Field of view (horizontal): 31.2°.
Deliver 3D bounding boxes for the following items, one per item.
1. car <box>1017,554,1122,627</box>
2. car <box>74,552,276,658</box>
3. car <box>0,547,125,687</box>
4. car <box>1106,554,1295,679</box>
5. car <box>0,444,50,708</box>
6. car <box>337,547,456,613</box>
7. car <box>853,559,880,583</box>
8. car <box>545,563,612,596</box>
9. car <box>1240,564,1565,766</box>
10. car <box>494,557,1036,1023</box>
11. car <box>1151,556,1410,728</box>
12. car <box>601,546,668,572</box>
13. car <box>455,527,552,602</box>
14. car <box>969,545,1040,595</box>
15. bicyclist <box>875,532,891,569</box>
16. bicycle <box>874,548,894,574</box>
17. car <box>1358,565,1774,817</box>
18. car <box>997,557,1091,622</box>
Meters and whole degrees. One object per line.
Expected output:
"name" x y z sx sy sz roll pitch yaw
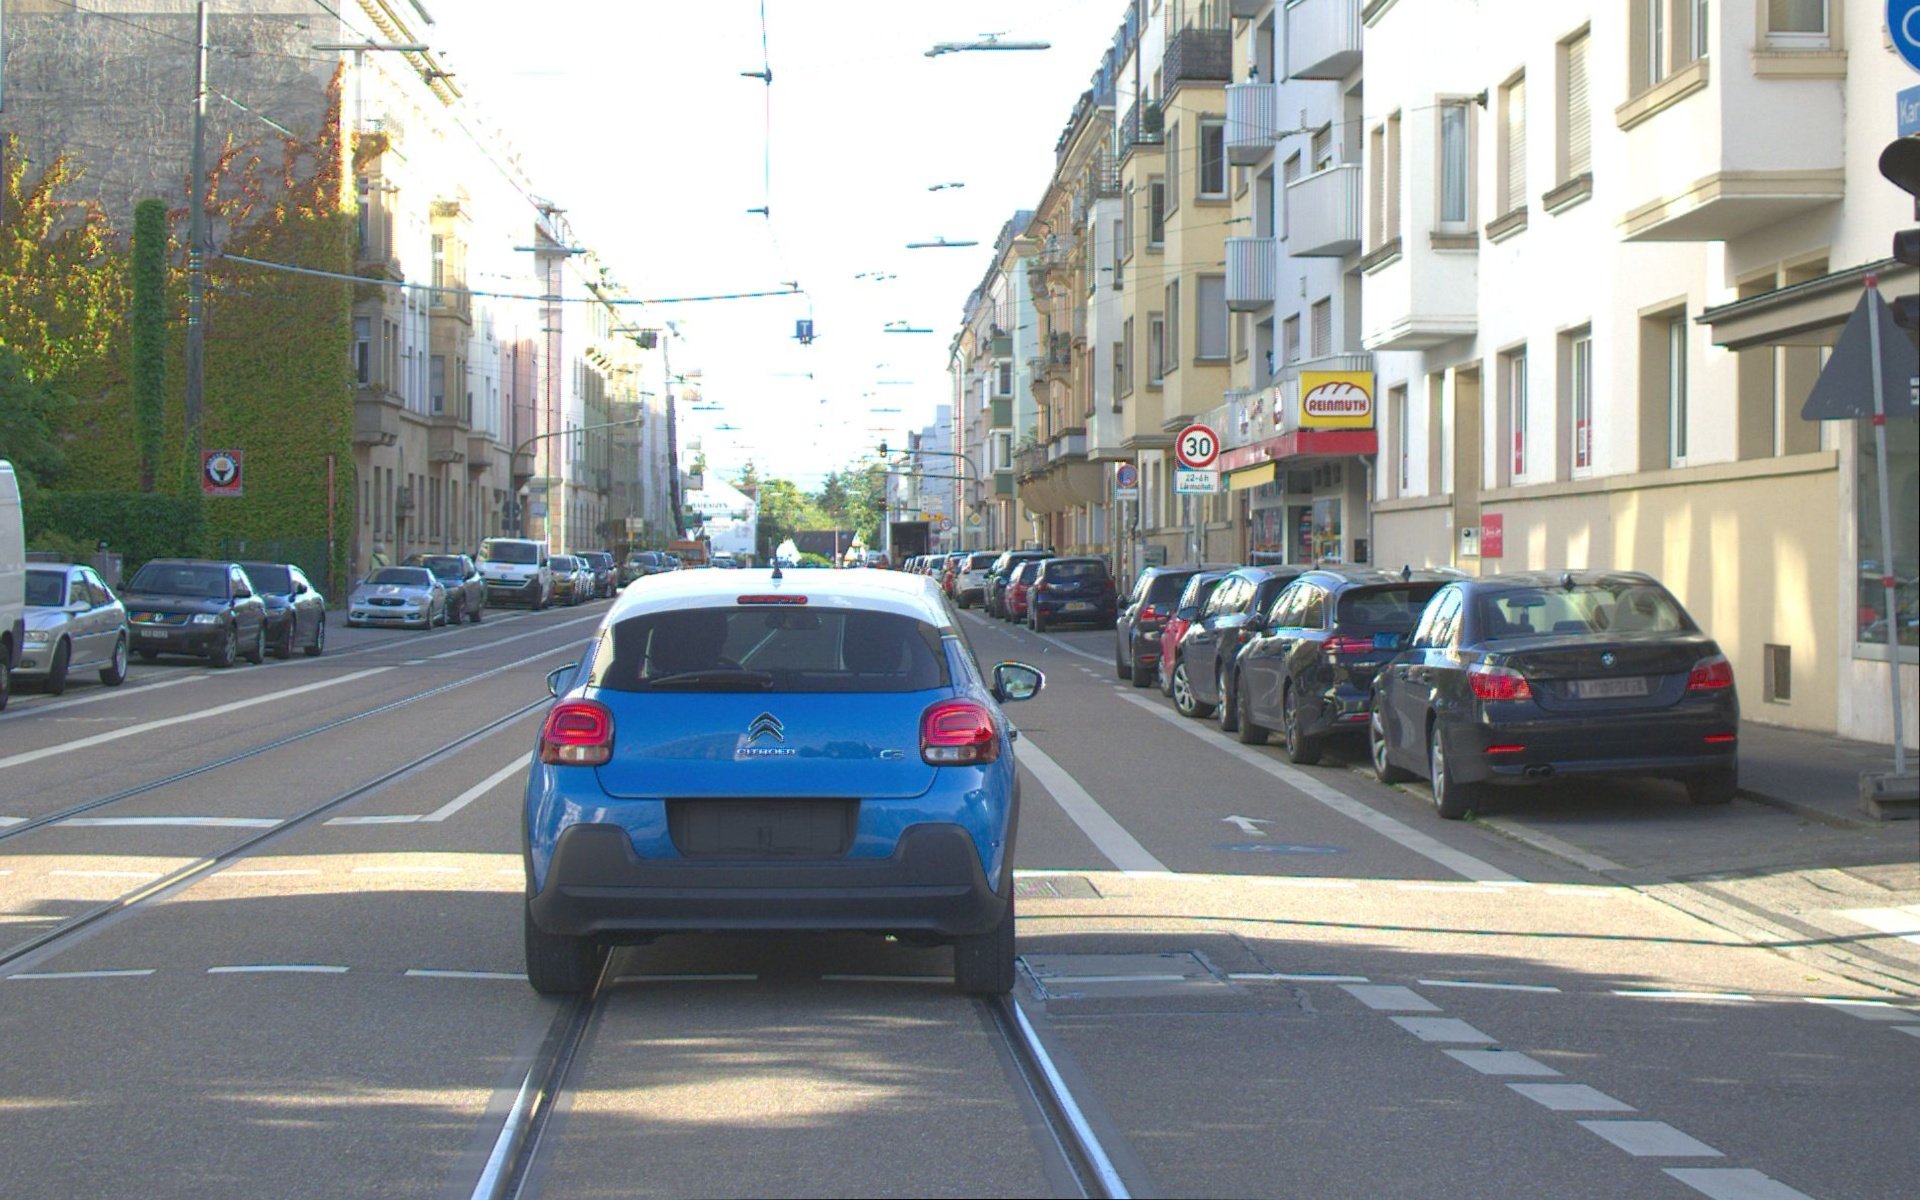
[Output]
"car" 2.242 -0.222 71.458 1.993 1.459 4.505 0 1 -1
"car" -10.755 0.052 47.364 1.993 1.393 4.157 0 0 -2
"car" -10.686 0.162 38.567 1.887 1.491 3.562 1 0 -2
"car" 2.917 0.169 42.490 1.993 1.459 4.000 0 1 -1
"car" -10.216 -0.232 31.919 2.085 2.533 6.206 1 1 -2
"car" -11.843 -0.423 72.490 1.993 1.320 3.923 1 0 -2
"car" -6.863 -2.133 252.025 1.993 1.766 4.000 0 1 -1
"car" -13.652 -0.748 123.247 1.993 1.152 4.000 0 1 -1
"car" 3.393 0.455 27.110 1.993 1.459 4.000 0 1 -1
"car" -0.686 0.595 13.071 1.728 1.477 3.827 1 1 -2
"car" 2.914 0.345 32.082 1.993 1.496 4.000 0 1 -1
"car" -14.590 -1.823 154.129 1.994 1.152 4.513 0 1 8
"car" -12.727 -0.985 96.069 2.006 2.007 4.689 1 0 0
"car" 1.307 -0.906 102.585 1.993 1.459 4.000 0 1 -1
"bicyclist" -4.246 -2.727 190.029 0.809 2.007 0.922 1 0 -2
"bicycle" -4.195 -2.152 189.787 0.919 1.384 3.132 0 1 -4
"car" 3.770 0.511 22.061 1.909 1.459 4.000 0 1 -1
"car" 1.910 -0.270 79.228 1.993 1.459 4.000 0 1 -1
